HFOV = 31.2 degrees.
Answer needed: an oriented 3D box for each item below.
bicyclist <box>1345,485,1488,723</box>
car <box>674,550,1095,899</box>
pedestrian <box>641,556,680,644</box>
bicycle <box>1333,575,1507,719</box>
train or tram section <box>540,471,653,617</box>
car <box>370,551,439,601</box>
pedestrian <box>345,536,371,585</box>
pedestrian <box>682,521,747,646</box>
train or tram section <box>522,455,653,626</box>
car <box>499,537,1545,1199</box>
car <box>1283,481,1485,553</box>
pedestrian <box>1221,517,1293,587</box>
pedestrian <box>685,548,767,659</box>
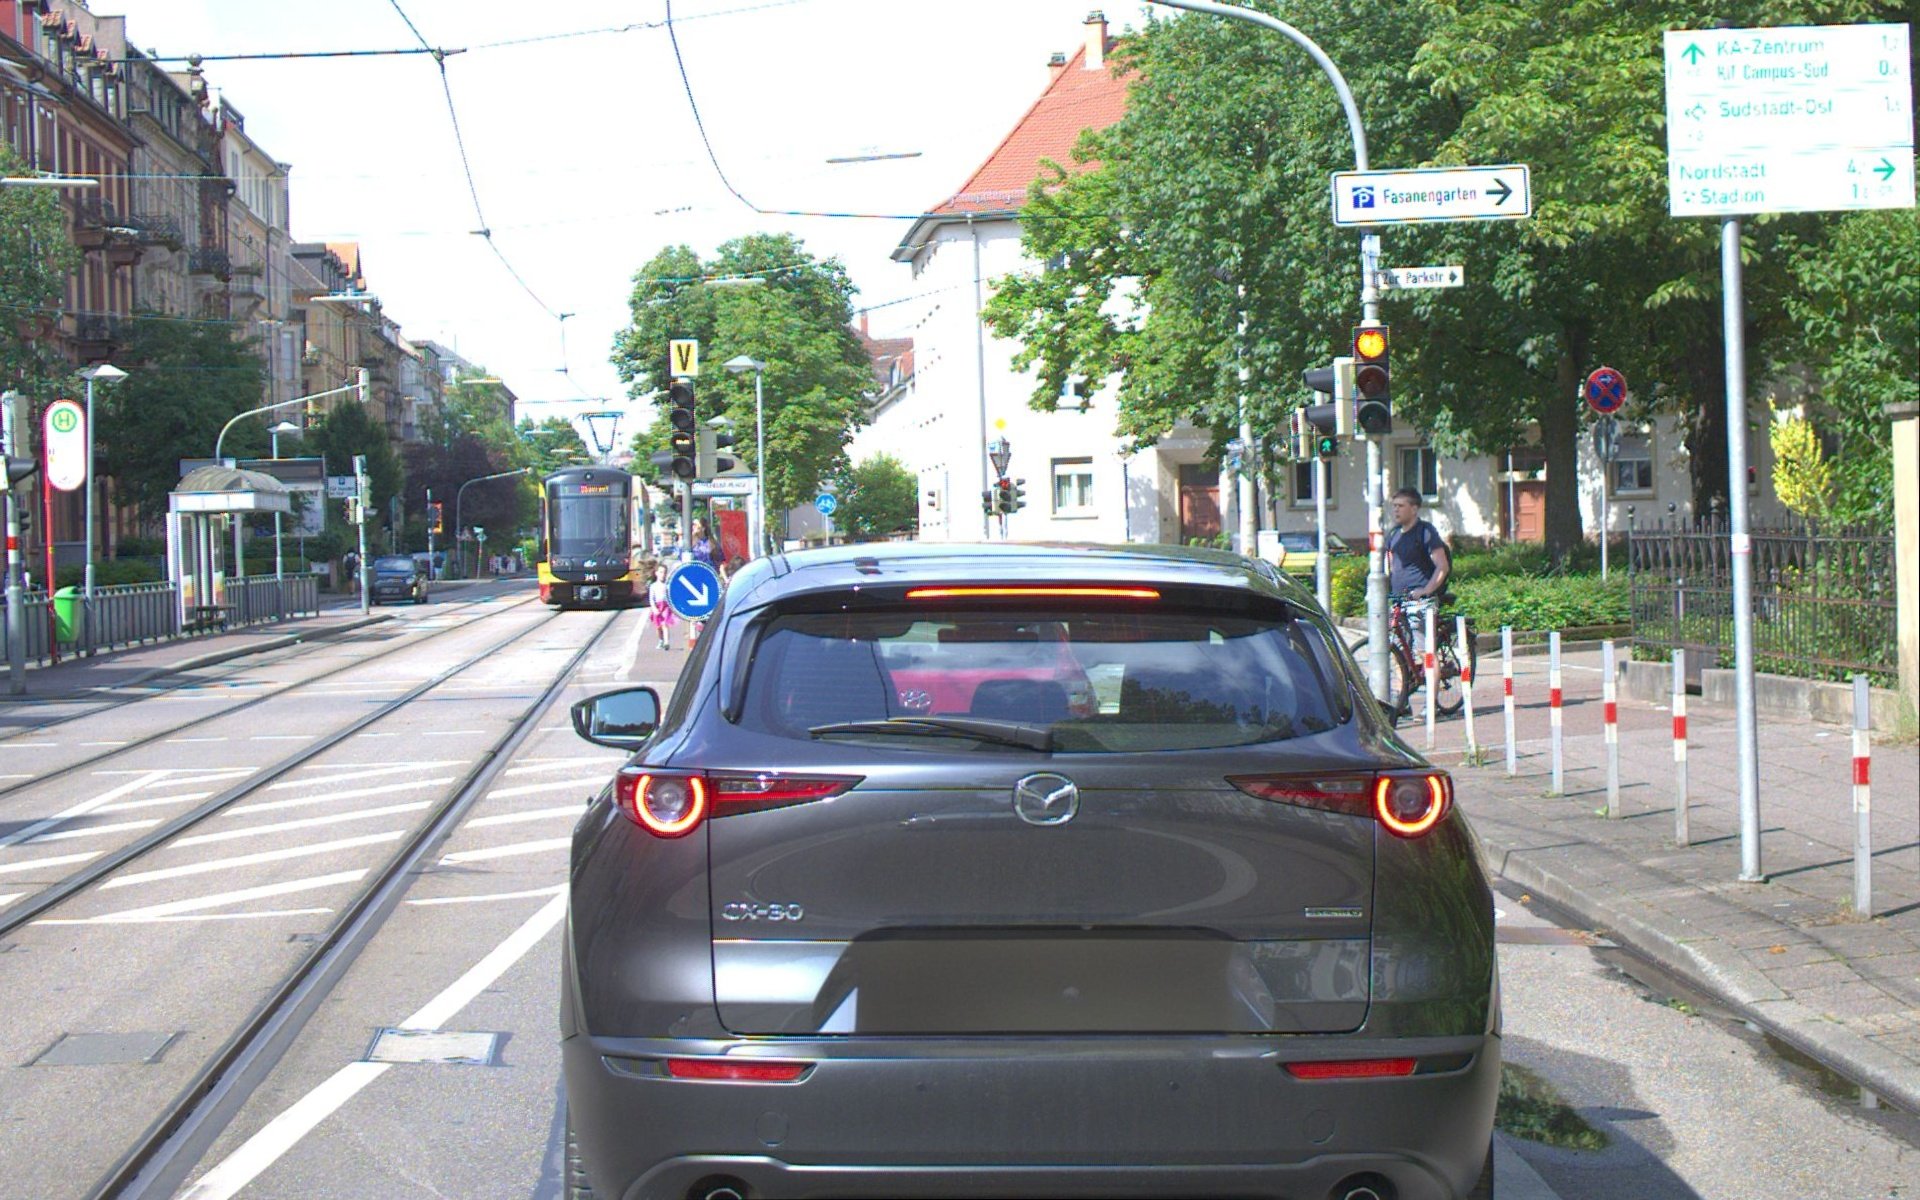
[{"bbox_3d":[3.561,0.022,26.863,0.733,1.813,0.820,-2,1,-27],"label":"bicyclist"},{"bbox_3d":[-0.410,0.500,16.443,1.775,1.459,3.843,0,1,-3],"label":"car"},{"bbox_3d":[-3.860,0.001,44.252,0.422,1.104,0.439,-4,1,-6],"label":"pedestrian"},{"bbox_3d":[3.624,0.353,26.953,0.389,1.032,1.841,-1,2,40],"label":"bicycle"},{"bbox_3d":[-10.719,-1.576,102.304,2.997,3.970,13.811,-2,0,-5],"label":"train or tram section"},{"bbox_3d":[-16.560,-0.723,102.543,1.624,1.382,3.436,-3,1,-3],"label":"car"},{"bbox_3d":[-21.134,-1.383,120.666,0.788,1.682,0.732,-1,1,-3],"label":"pedestrian"},{"bbox_3d":[-3.140,-0.217,43.972,0.728,1.560,0.799,-2,1,-9],"label":"pedestrian"},{"bbox_3d":[-9.477,-1.428,88.537,2.997,3.970,13.811,-2,0,-5],"label":"train or tram section"},{"bbox_3d":[0.095,0.634,7.902,1.782,1.509,4.000,1,1,0],"label":"car"},{"bbox_3d":[9.674,-1.892,78.562,4.167,1.504,1.848,0,3,38],"label":"car"},{"bbox_3d":[5.686,-0.923,65.830,1.192,1.264,0.558,-4,1,-9],"label":"pedestrian"},{"bbox_3d":[-2.853,0.040,41.872,0.715,1.299,0.828,-4,1,-21],"label":"pedestrian"}]
